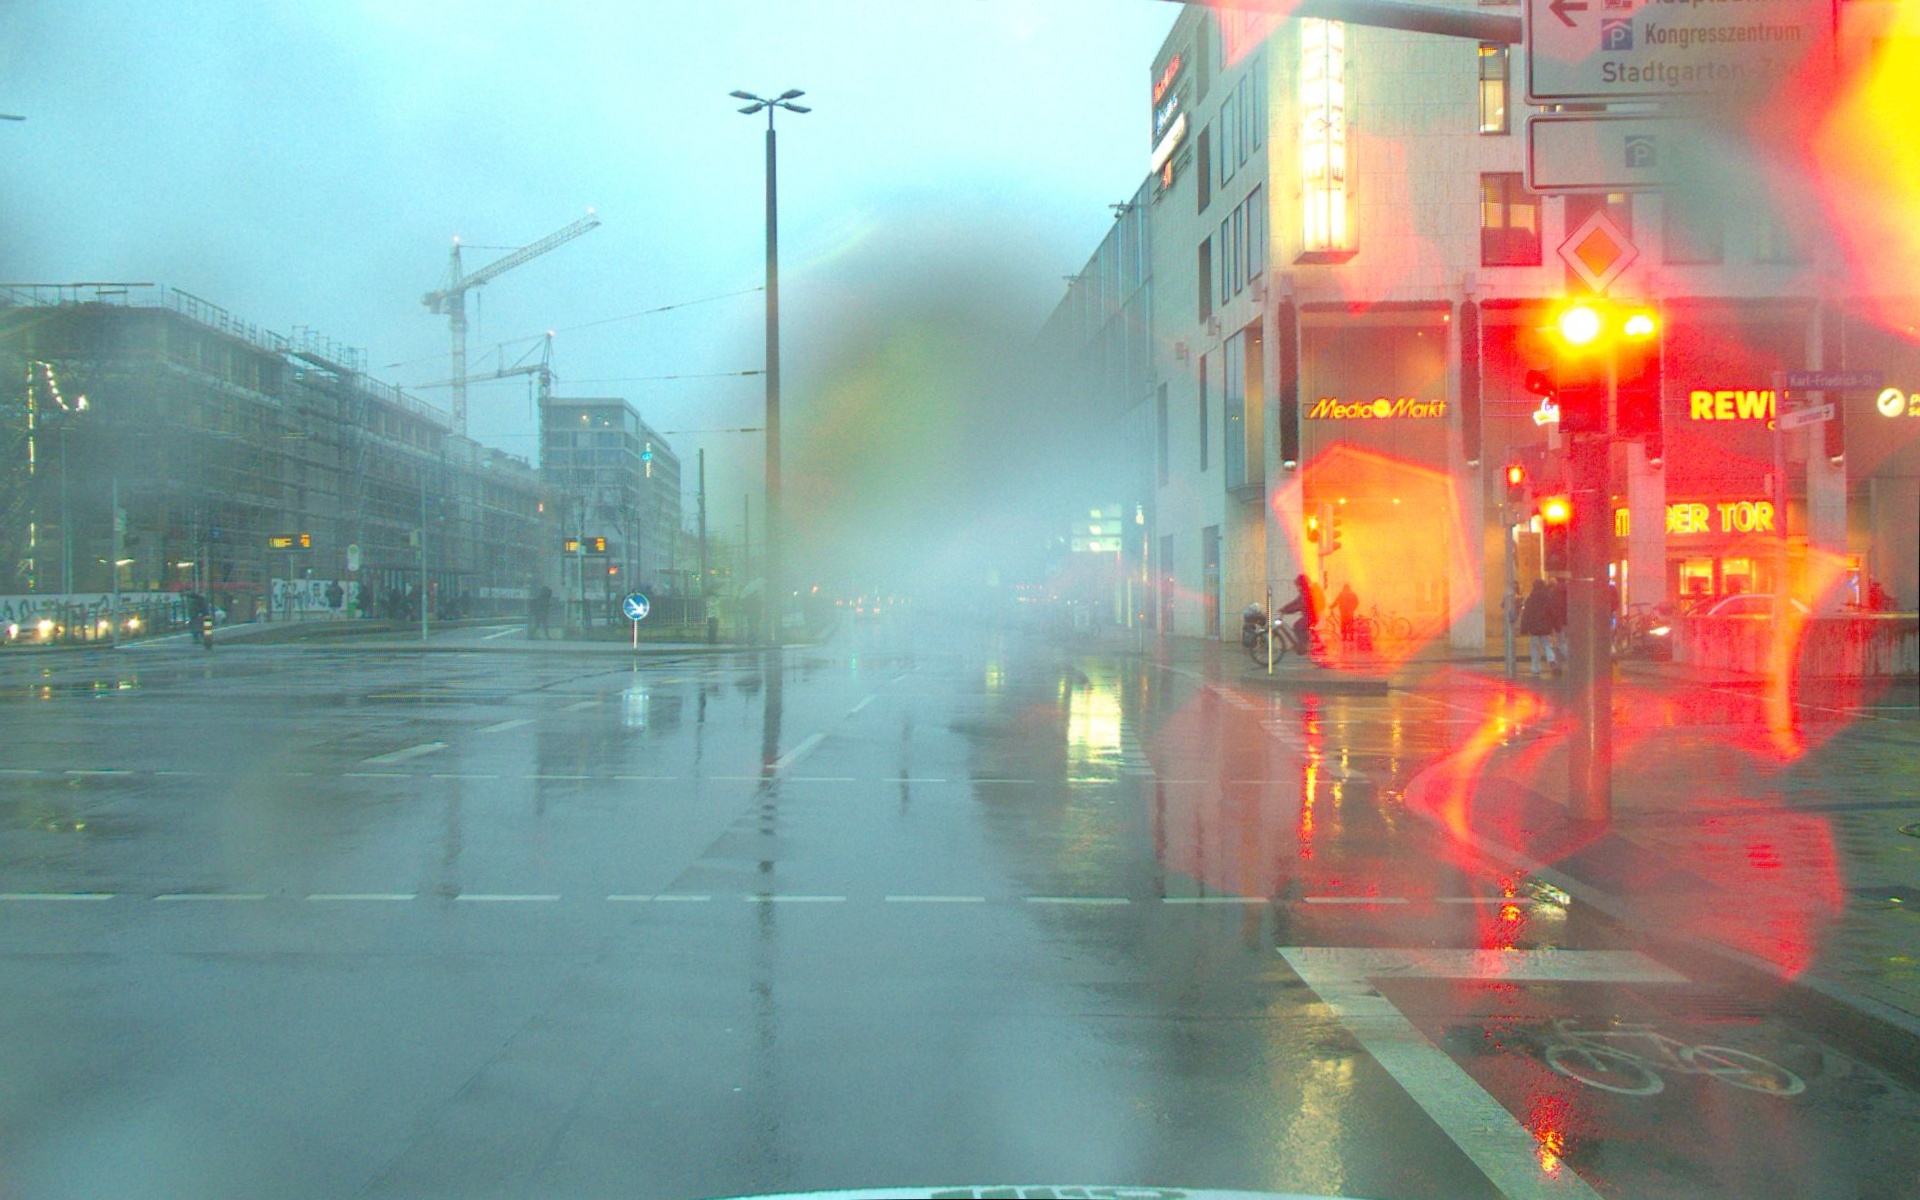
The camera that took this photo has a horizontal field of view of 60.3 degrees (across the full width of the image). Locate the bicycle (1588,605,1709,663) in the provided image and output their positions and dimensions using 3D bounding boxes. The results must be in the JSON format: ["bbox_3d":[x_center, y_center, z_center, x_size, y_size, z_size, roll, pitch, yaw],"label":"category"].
[{"bbox_3d":[17.200,0.838,41.355,2.659,1.383,0.957,-1,-1,-4],"label":"bicycle"}]

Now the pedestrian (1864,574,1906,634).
[{"bbox_3d":[26.871,0.117,48.044,0.875,1.714,0.528,-1,-1,-1],"label":"pedestrian"}]

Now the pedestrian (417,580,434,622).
[{"bbox_3d":[-25.997,0.050,80.481,0.559,2.002,0.664,2,-1,-7],"label":"pedestrian"}]

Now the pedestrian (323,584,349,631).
[{"bbox_3d":[-25.780,0.328,68.372,0.750,1.931,0.762,1,-2,-1],"label":"pedestrian"}]

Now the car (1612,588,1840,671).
[{"bbox_3d":[16.181,0.613,35.091,3.905,1.646,2.000,1,0,0],"label":"car"}]

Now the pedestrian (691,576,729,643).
[{"bbox_3d":[-7.025,0.265,46.442,0.813,1.863,0.777,1,-1,-31],"label":"pedestrian"}]

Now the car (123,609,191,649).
[{"bbox_3d":[-38.060,1.370,78.484,1.959,1.822,3.987,1,0,-12],"label":"car"}]

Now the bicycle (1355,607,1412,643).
[{"bbox_3d":[13.045,0.777,50.995,1.614,1.088,0.524,1,-1,-5],"label":"bicycle"}]

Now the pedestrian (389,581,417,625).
[{"bbox_3d":[-26.272,0.147,78.020,0.923,2.049,1.093,1,-1,-2],"label":"pedestrian"}]

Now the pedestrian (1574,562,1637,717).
[{"bbox_3d":[10.559,0.633,27.069,0.679,2.491,0.791,1,-1,-1],"label":"pedestrian"}]

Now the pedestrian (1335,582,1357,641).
[{"bbox_3d":[11.628,0.351,49.834,0.587,1.775,0.525,1,-1,7],"label":"pedestrian"}]

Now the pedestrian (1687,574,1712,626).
[{"bbox_3d":[25.156,-0.007,56.283,0.721,1.748,0.738,-1,-1,27],"label":"pedestrian"}]

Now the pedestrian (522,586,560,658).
[{"bbox_3d":[-11.987,0.625,47.337,0.771,2.049,0.724,0,-1,41],"label":"pedestrian"}]

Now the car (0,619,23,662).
[{"bbox_3d":[-36.378,1.518,60.692,2.038,1.557,4.604,-1,0,-10],"label":"car"}]

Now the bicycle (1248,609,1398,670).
[{"bbox_3d":[7.060,0.765,32.273,2.795,1.118,0.746,1,0,7],"label":"bicycle"}]

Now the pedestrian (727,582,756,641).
[{"bbox_3d":[-6.328,0.335,47.918,0.601,1.715,0.575,0,-1,41],"label":"pedestrian"}]

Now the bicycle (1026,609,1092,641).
[{"bbox_3d":[3.685,0.922,61.496,2.393,1.174,0.674,-1,-1,-2],"label":"bicycle"}]

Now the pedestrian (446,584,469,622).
[{"bbox_3d":[-27.569,0.178,90.710,0.923,2.049,1.093,1,-1,-2],"label":"pedestrian"}]

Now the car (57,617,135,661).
[{"bbox_3d":[-37.609,1.683,72.085,1.959,1.822,3.987,1,0,-12],"label":"car"}]

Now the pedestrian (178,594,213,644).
[{"bbox_3d":[-21.766,0.537,47.084,0.724,1.413,0.713,1,-1,-42],"label":"pedestrian"}]

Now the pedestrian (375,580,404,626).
[{"bbox_3d":[-26.311,0.139,76.308,0.923,2.049,1.093,1,-1,-2],"label":"pedestrian"}]

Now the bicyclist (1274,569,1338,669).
[{"bbox_3d":[6.758,0.367,32.318,1.132,1.904,0.746,1,-1,6],"label":"bicyclist"}]

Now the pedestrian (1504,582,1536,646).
[{"bbox_3d":[18.008,0.439,53.220,0.828,2.049,0.698,-1,0,8],"label":"pedestrian"}]

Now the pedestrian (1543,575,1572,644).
[{"bbox_3d":[18.156,0.292,50.239,0.775,2.049,0.593,-1,-1,18],"label":"pedestrian"}]

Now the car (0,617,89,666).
[{"bbox_3d":[-37.040,1.648,66.966,1.830,1.860,3.993,1,0,-8],"label":"car"}]

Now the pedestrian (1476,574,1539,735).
[{"bbox_3d":[8.599,0.842,26.003,0.700,2.484,0.758,1,-1,-1],"label":"pedestrian"}]

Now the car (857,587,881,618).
[{"bbox_3d":[-5.970,0.161,108.830,1.546,2.049,3.169,-1,0,-3],"label":"car"}]

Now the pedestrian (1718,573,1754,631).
[{"bbox_3d":[23.441,0.067,49.970,0.726,1.713,0.782,1,-1,5],"label":"pedestrian"}]

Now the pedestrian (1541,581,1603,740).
[{"bbox_3d":[9.789,0.954,26.458,0.675,2.484,0.758,1,-1,-1],"label":"pedestrian"}]

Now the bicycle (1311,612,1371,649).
[{"bbox_3d":[11.629,0.933,50.481,1.729,1.088,0.525,1,-1,7],"label":"bicycle"}]

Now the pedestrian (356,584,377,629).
[{"bbox_3d":[-25.375,0.273,70.741,0.684,1.913,0.553,1,-1,-2],"label":"pedestrian"}]

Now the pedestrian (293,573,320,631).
[{"bbox_3d":[-26.959,0.077,68.256,0.750,2.364,0.762,1,-2,-1],"label":"pedestrian"}]
